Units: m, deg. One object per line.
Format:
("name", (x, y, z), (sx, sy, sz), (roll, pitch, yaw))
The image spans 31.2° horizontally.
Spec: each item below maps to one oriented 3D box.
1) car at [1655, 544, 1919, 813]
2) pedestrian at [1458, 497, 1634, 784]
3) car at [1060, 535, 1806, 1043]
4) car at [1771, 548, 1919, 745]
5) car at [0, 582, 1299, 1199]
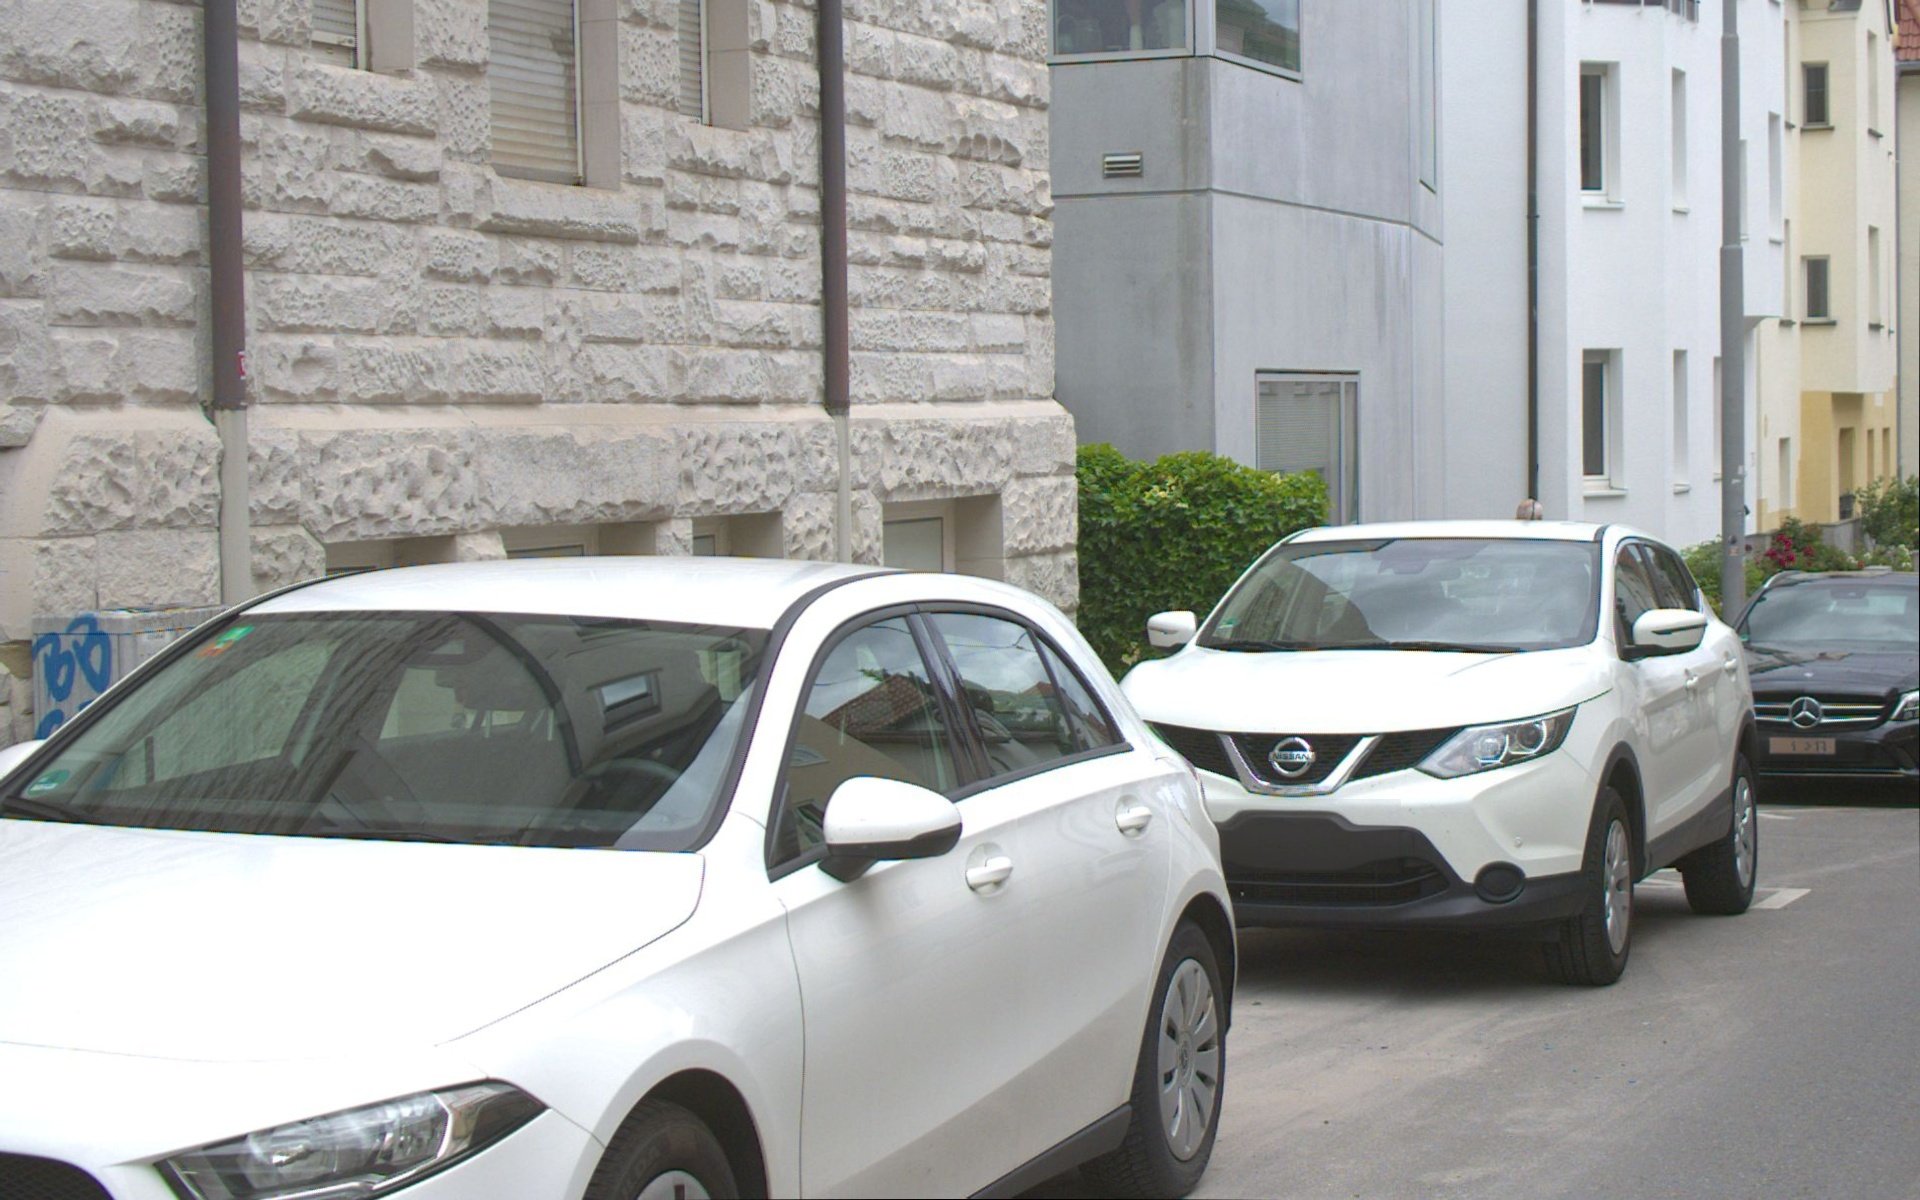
("car", (5.839, 0.420, 22.362), (1.898, 1.522, 4.466), (1, 2, 21))
("pedestrian", (3.926, 0.254, 23.030), (0.845, 1.878, 0.819), (-1, 1, -45))
("car", (1.932, 0.531, 12.746), (1.847, 1.510, 4.236), (1, 2, 21))
("car", (7.866, 0.309, 27.957), (1.847, 1.408, 5.057), (1, 2, 21))
("car", (-0.753, 0.720, 6.311), (1.701, 1.409, 4.236), (1, 2, 21))
